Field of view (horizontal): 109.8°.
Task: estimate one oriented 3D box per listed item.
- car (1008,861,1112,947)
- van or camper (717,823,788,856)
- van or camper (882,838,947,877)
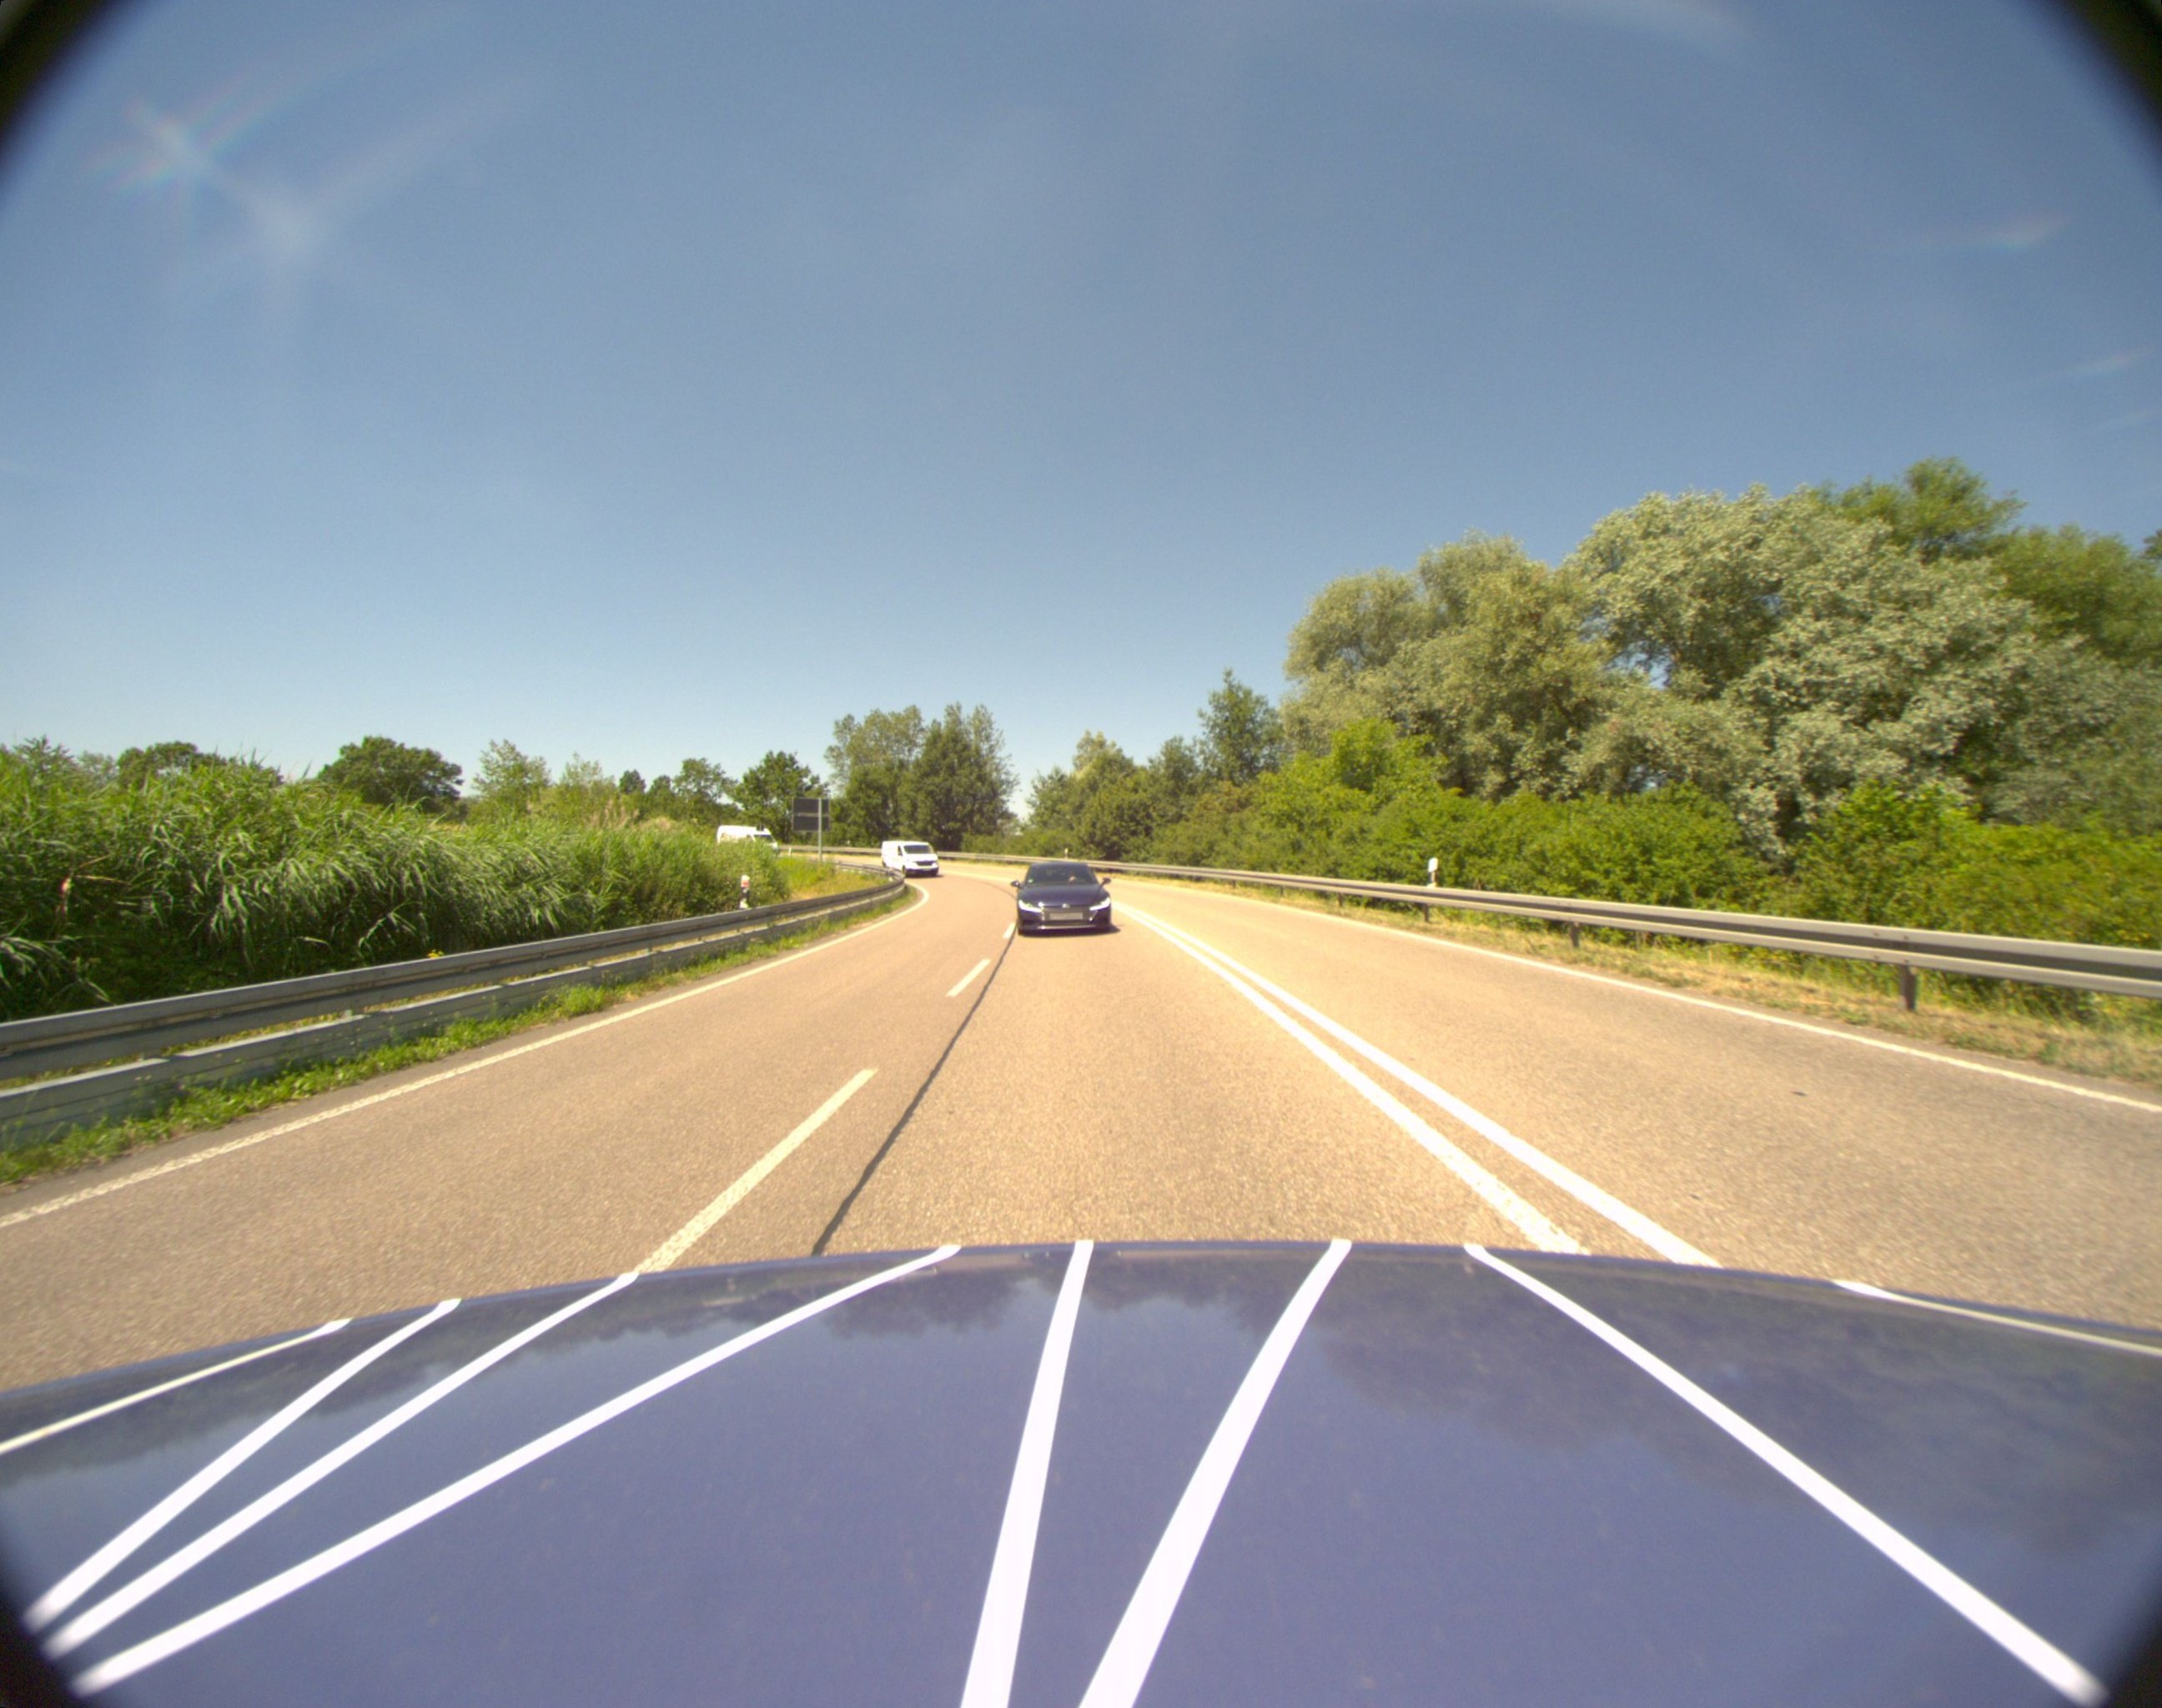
[{"bbox_3d":[-0.467,0.925,16.043,1.843,1.422,4.532,-2,0,-2],"label":"car"},{"bbox_3d":[-26.800,-1.182,61.930,6.030,2.541,2.078,1,4,32],"label":"van or camper"},{"bbox_3d":[-9.798,0.149,44.332,2.013,2.020,5.433,-2,3,-31],"label":"van or camper"}]
